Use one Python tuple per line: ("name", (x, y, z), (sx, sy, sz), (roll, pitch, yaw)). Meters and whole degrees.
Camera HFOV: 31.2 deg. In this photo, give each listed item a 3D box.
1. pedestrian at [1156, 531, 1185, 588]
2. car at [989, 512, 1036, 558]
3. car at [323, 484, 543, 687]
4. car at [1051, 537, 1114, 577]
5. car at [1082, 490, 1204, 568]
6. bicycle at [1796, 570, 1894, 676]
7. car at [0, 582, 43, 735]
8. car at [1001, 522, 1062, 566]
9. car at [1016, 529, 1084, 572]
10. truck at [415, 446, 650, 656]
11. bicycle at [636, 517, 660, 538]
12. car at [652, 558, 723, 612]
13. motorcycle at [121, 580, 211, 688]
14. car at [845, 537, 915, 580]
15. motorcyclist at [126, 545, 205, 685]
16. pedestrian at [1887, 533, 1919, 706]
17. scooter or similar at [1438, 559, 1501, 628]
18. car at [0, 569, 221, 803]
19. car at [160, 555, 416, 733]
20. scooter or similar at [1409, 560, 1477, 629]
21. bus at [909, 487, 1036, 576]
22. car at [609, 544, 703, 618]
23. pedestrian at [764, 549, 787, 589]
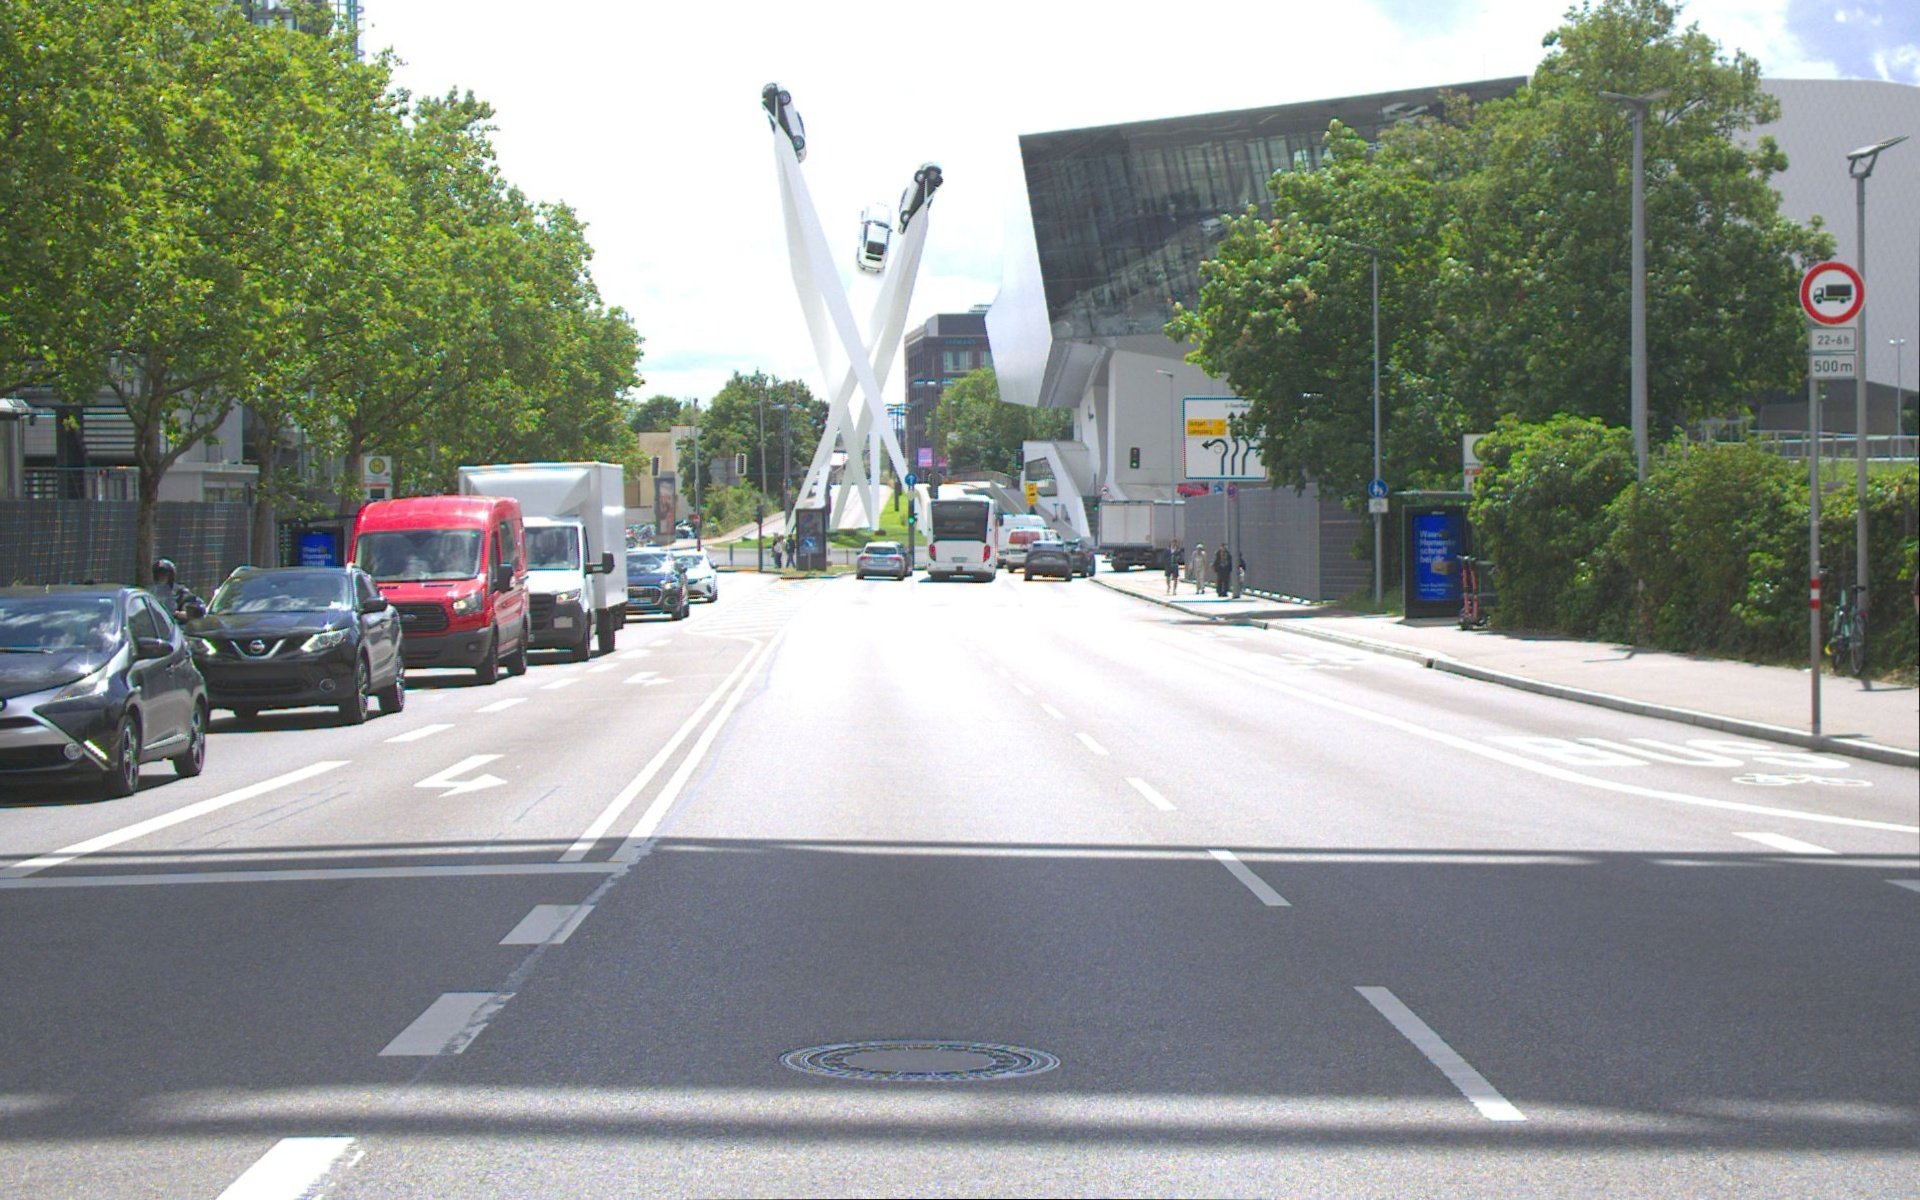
("pedestrian", (6.455, -1.245, 105.539), (0.794, 1.715, 0.732), (1, 0, -1))
("car", (2.580, -3.188, 169.269), (1.994, 2.163, 4.655), (1, 0, 5))
("car", (-6.978, -0.234, 46.090), (2.063, 2.498, 5.480), (-2, 1, 0))
("car", (5.172, -1.813, 144.737), (1.994, 1.631, 3.998), (1, 1, 12))
("car", (8.582, -3.259, 159.976), (3.338, 3.492, 9.333), (1, 1, 18))
("bicycle", (10.257, 0.248, 39.915), (0.443, 1.176, 2.469), (1, 0, -1))
("car", (-9.853, 0.592, 32.091), (1.576, 1.423, 3.920), (-2, 1, -1))
("car", (3.241, -2.518, 155.265), (1.994, 1.926, 4.238), (1, 1, 12))
("car", (3.610, -1.967, 136.707), (1.994, 1.631, 3.998), (1, 2, 12))
("truck", (-6.735, -0.763, 55.131), (2.452, 3.118, 7.242), (1, 0, 3))
("bicycle", (-20.816, -4.865, 229.377), (1.605, 1.378, 0.493), (1, 0, -1))
("car", (-7.760, -0.449, 98.253), (1.691, 1.410, 4.146), (-2, 1, -1))
("motorcycle", (-9.325, 0.382, 40.455), (0.674, 1.215, 2.377), (1, 0, -5))
("car", (-3.070, -1.596, 132.781), (1.994, 1.631, 3.998), (1, 1, 9))
("motorcyclist", (-9.336, 0.171, 40.427), (0.733, 1.617, 1.095), (1, 0, -4))
("pedestrian", (9.494, 0.169, 33.066), (0.809, 1.639, 0.998), (-2, 0, -2))
("scooter or similar", (8.934, -0.126, 60.202), (0.542, 1.159, 1.790), (-1, 1, 26))
("car", (-6.432, 0.564, 24.412), (1.558, 1.500, 3.613), (-2, 1, 0))
("car", (-6.741, 0.402, 34.890), (1.736, 1.678, 4.214), (1, 1, 0))
("scooter or similar", (8.568, -0.113, 60.942), (0.542, 1.159, 2.125), (-1, 1, 26))
("bus", (0.598, -2.640, 136.808), (3.073, 3.350, 12.218), (1, 1, 9))
("car", (-6.964, -0.461, 79.109), (1.740, 1.575, 4.267), (-2, 1, 0))
("pedestrian", (-8.398, -1.412, 156.318), (0.863, 1.767, 1.036), (1, 0, -14))
